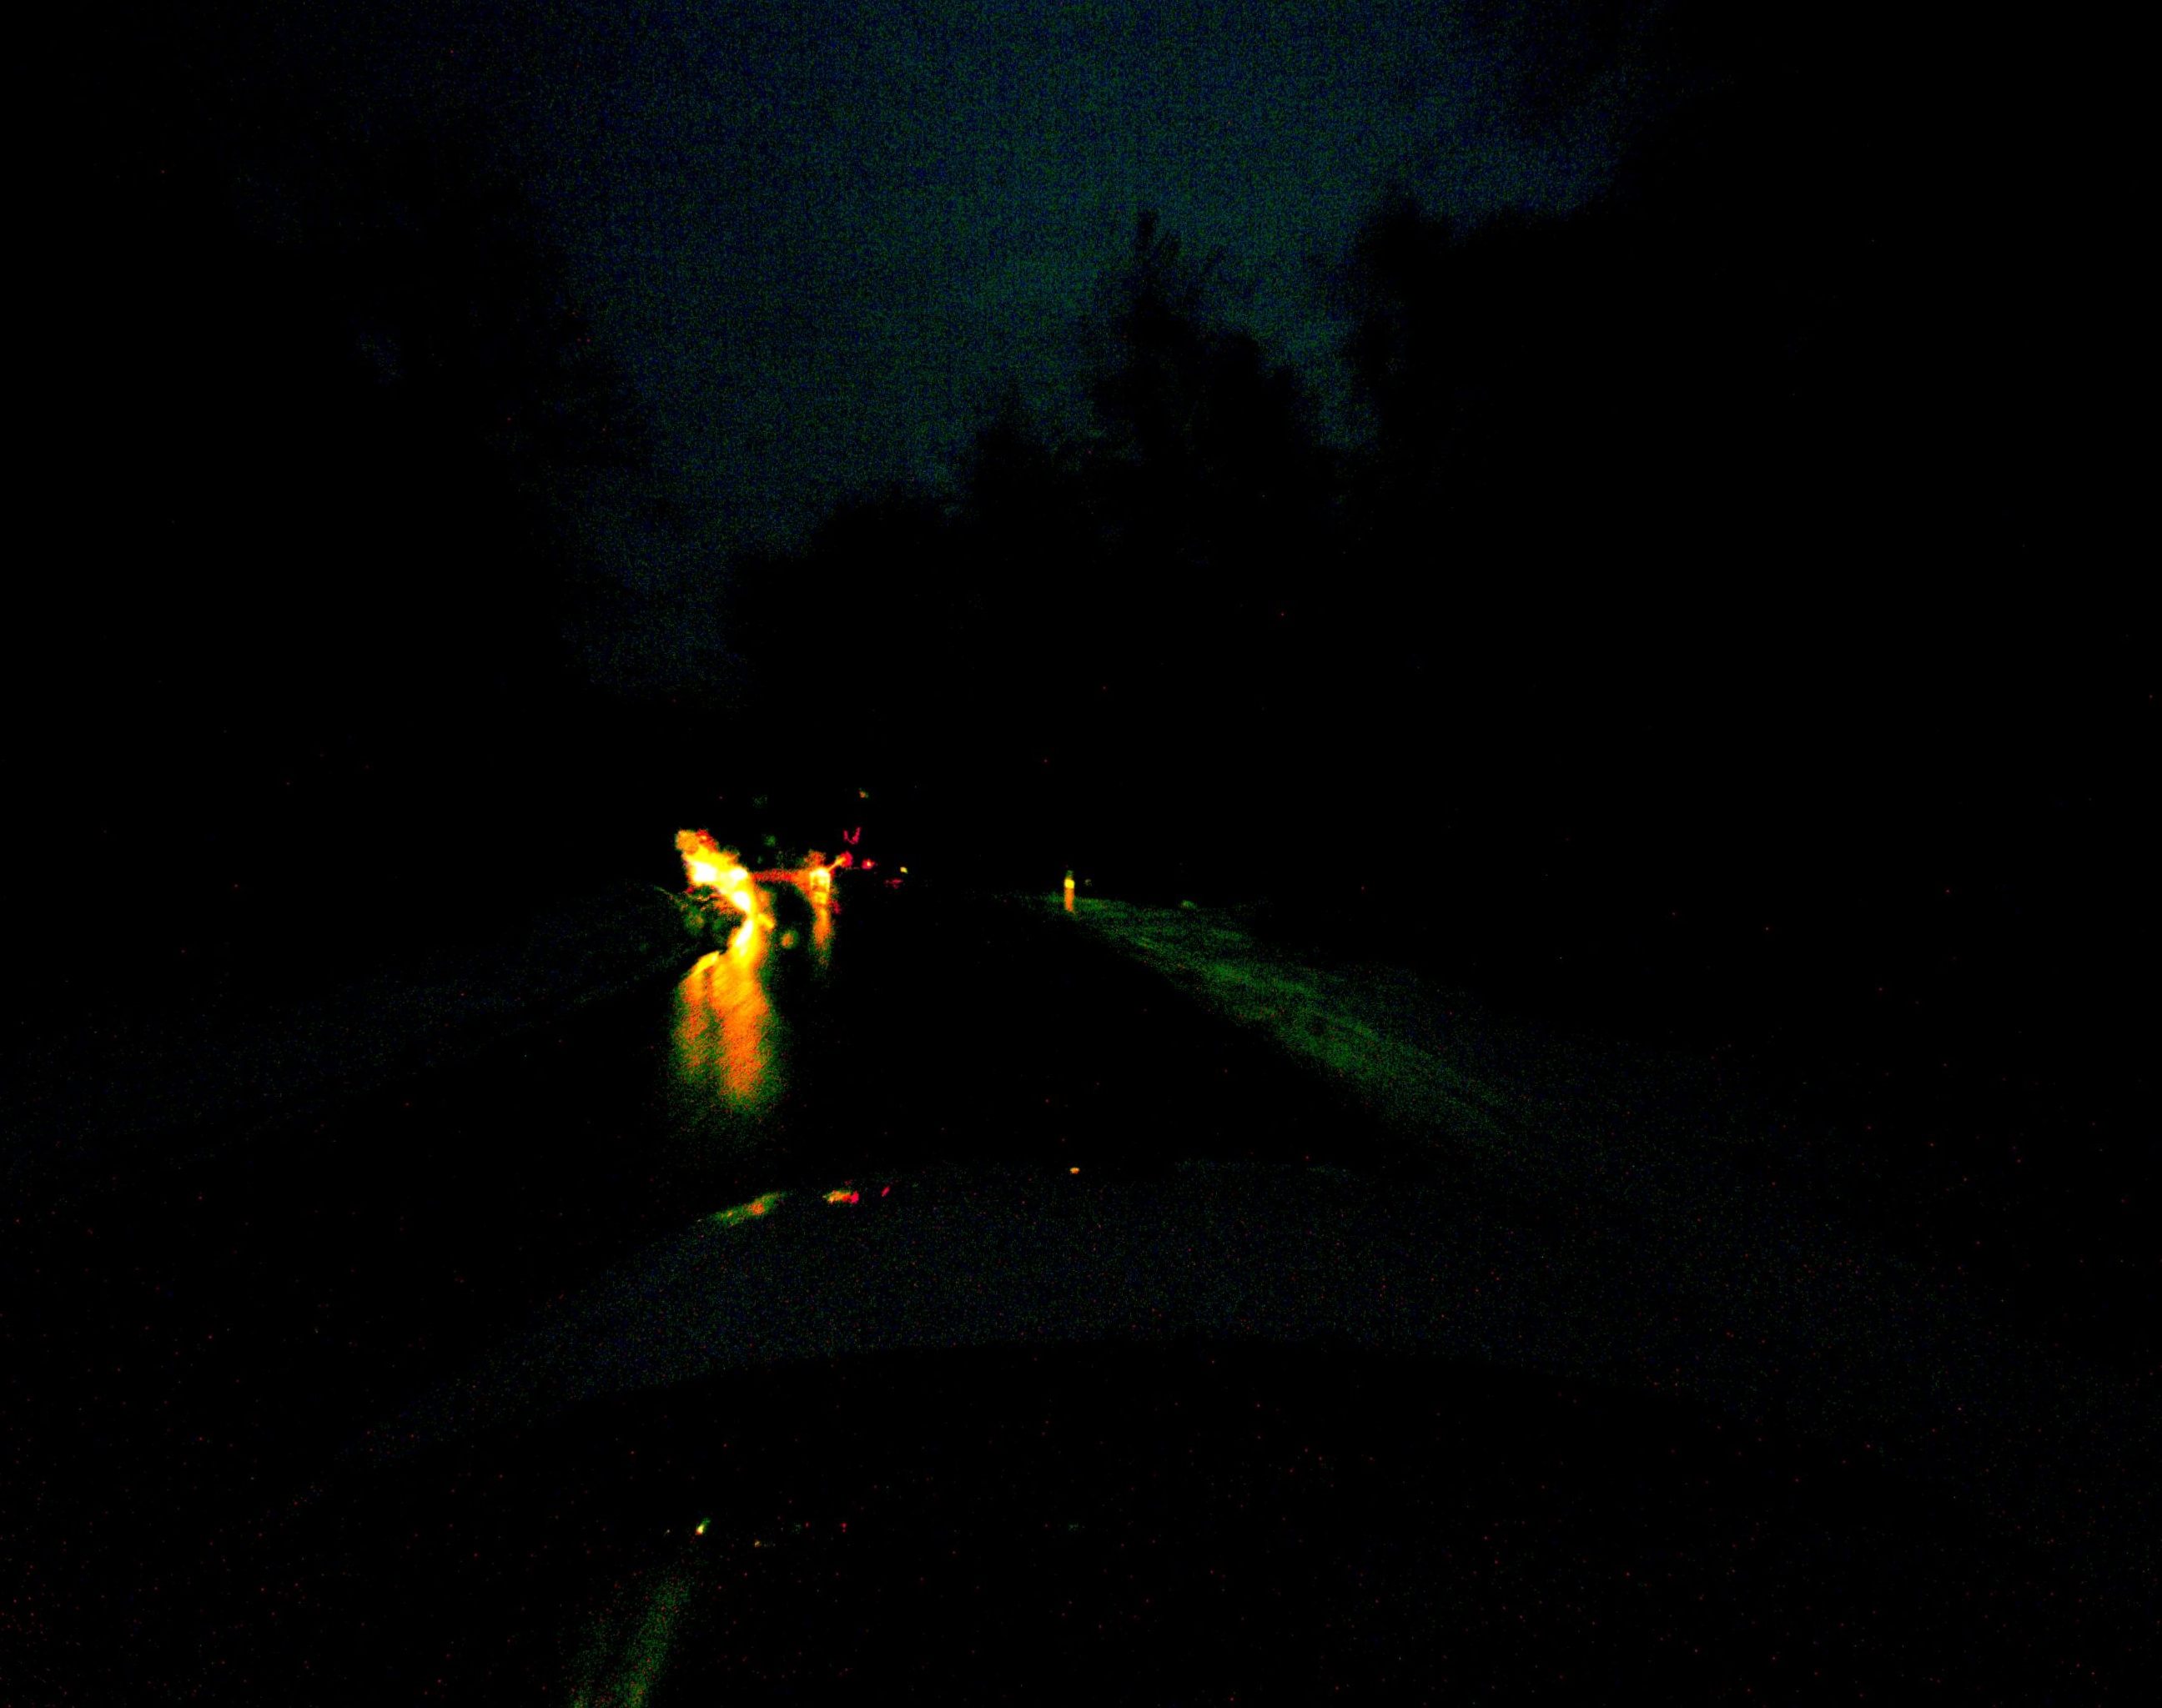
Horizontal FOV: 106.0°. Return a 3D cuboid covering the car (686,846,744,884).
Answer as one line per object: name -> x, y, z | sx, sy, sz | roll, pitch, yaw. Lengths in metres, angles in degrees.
car -> -16.378, 0.438, 36.356 | 1.786, 1.492, 4.504 | -4, 2, -31

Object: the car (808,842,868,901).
car -> -9.510, 0.670, 31.740 | 1.999, 2.051, 3.975 | -3, 0, -18

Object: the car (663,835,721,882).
car -> -24.127, 0.284, 50.372 | 2.270, 2.645, 4.951 | -3, 1, -36
